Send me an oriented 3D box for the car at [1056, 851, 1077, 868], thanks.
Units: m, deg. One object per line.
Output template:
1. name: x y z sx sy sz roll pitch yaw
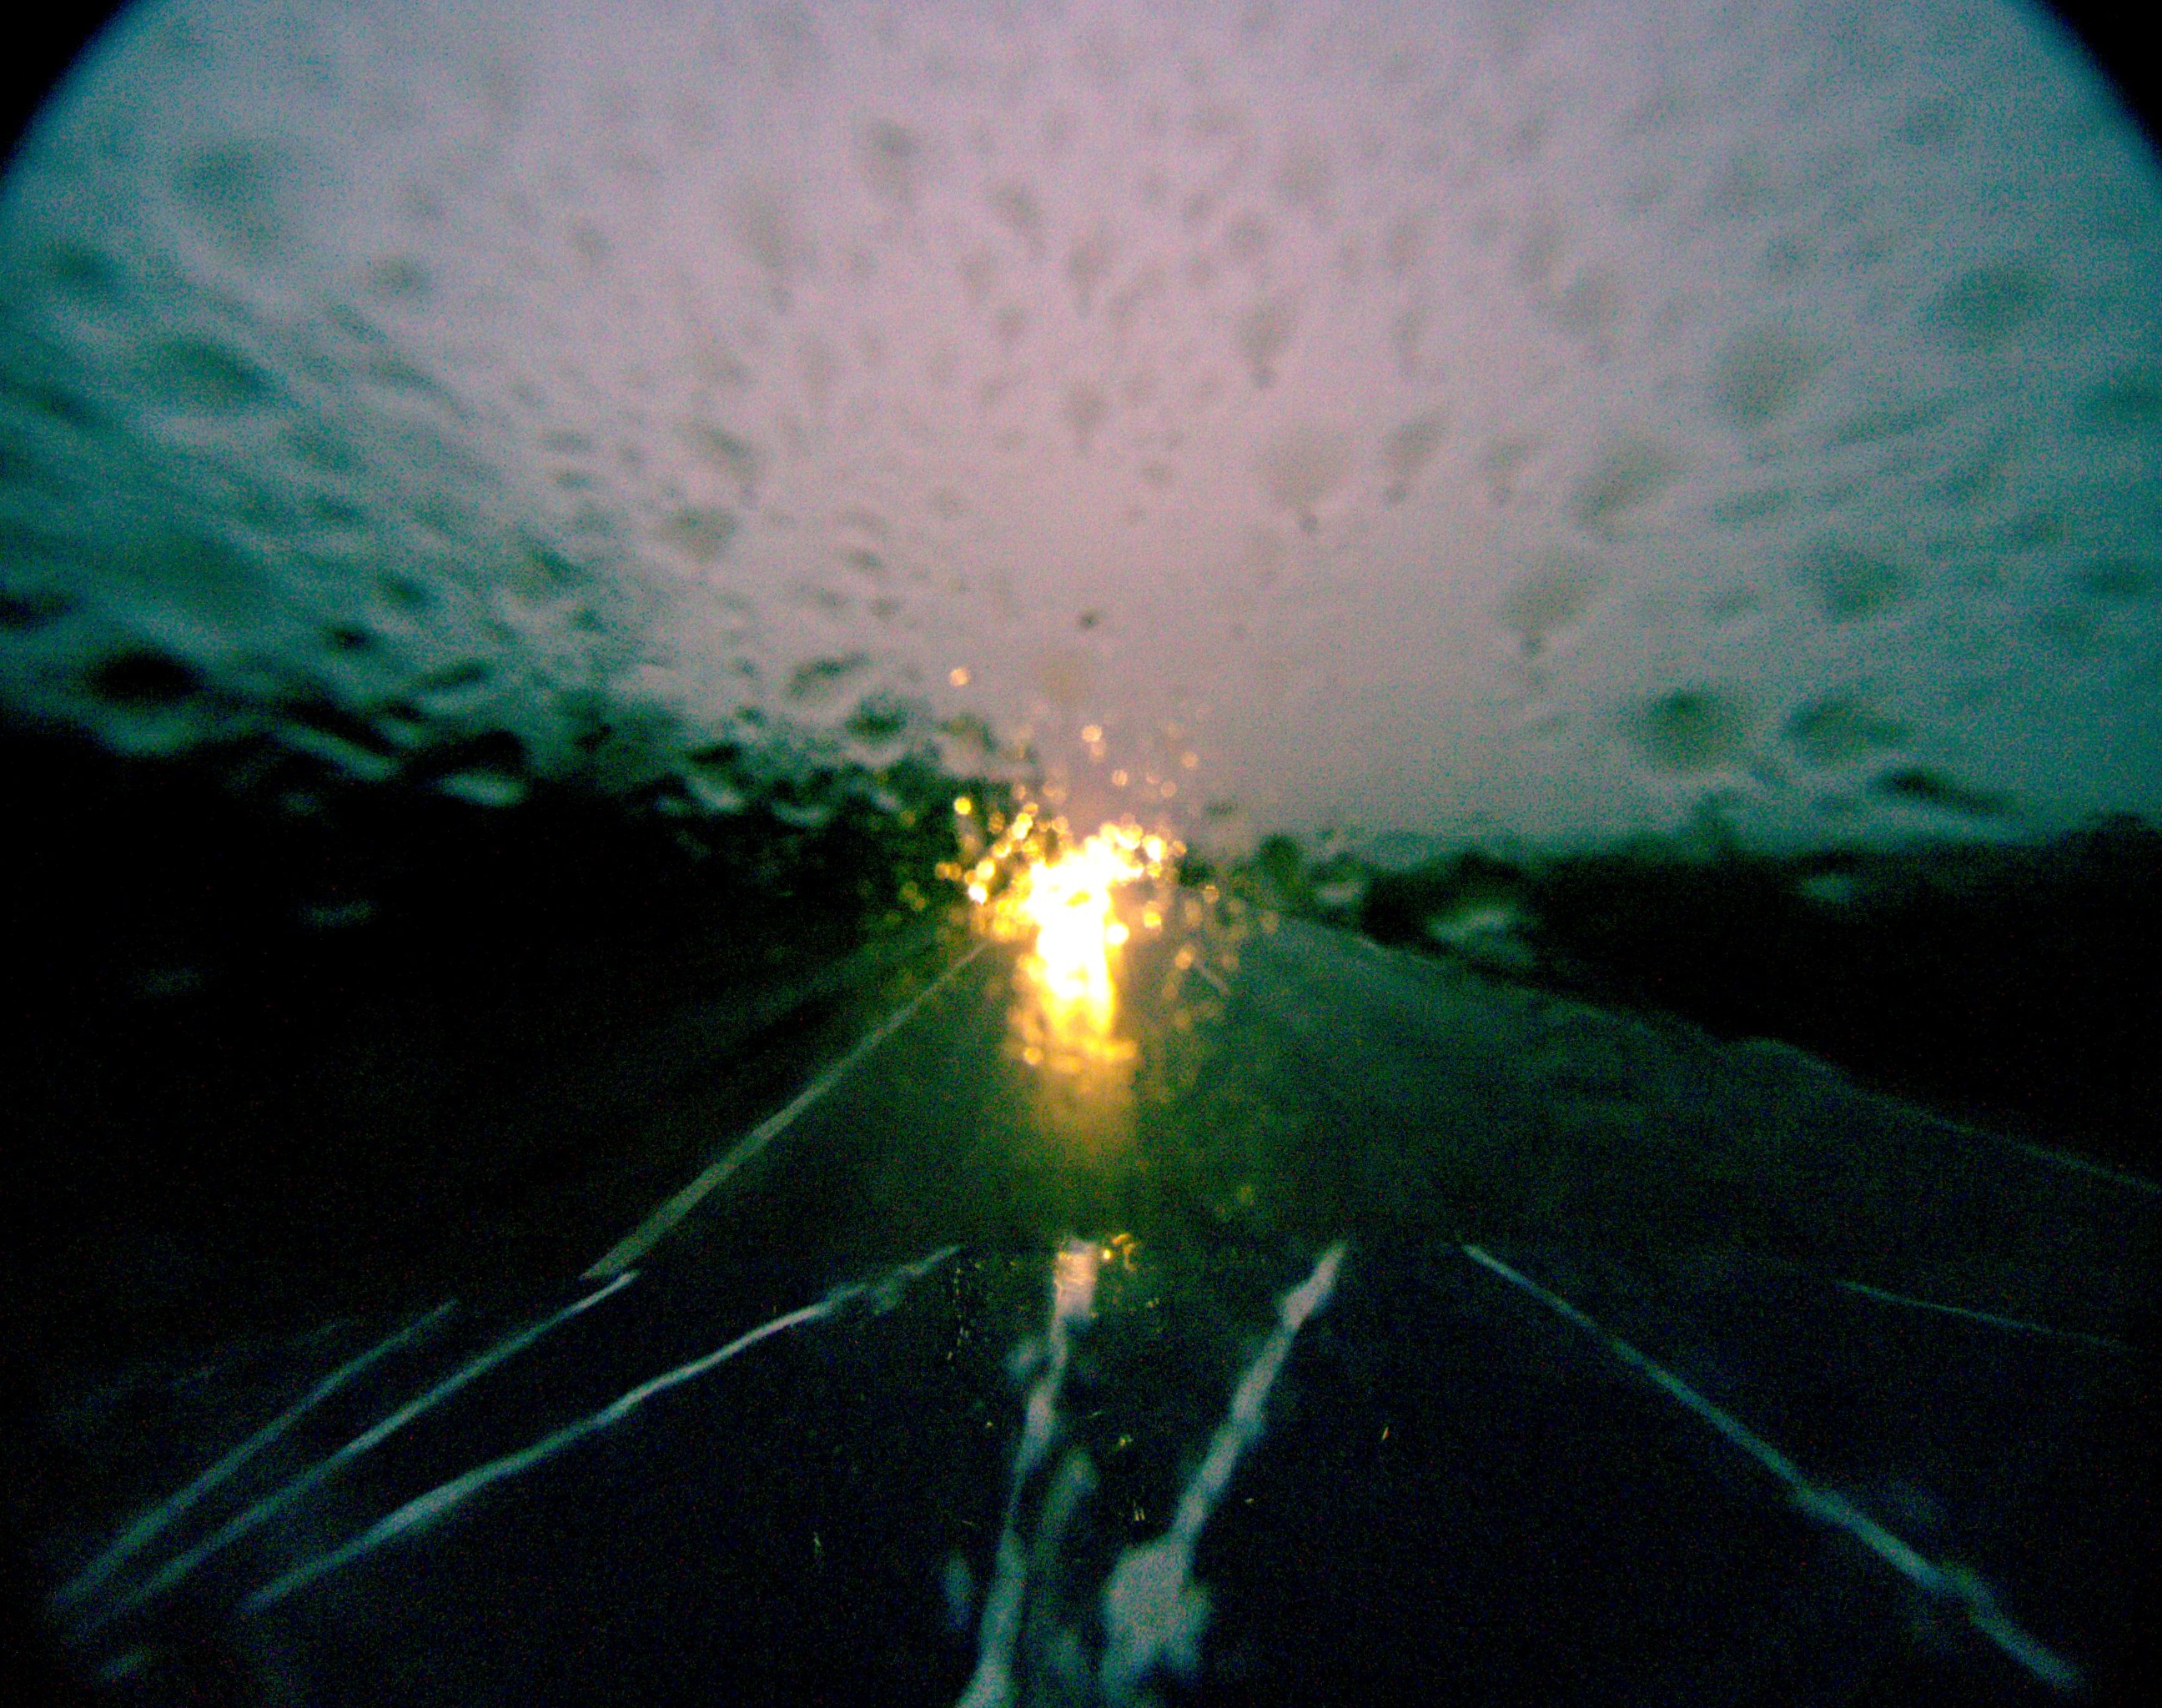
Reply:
1. car: -1.477 0.545 79.516 1.933 1.740 4.000 -2 1 1

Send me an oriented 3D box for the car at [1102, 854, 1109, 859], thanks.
1. car: 6.689 0.701 207.214 1.998 1.364 4.397 -2 0 1

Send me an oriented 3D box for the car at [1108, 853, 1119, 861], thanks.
1. car: 6.413 0.600 151.157 1.998 1.455 4.351 3 1 1

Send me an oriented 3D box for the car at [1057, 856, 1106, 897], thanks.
1. car: 0.009 0.875 31.295 1.844 1.484 3.956 -2 1 0
